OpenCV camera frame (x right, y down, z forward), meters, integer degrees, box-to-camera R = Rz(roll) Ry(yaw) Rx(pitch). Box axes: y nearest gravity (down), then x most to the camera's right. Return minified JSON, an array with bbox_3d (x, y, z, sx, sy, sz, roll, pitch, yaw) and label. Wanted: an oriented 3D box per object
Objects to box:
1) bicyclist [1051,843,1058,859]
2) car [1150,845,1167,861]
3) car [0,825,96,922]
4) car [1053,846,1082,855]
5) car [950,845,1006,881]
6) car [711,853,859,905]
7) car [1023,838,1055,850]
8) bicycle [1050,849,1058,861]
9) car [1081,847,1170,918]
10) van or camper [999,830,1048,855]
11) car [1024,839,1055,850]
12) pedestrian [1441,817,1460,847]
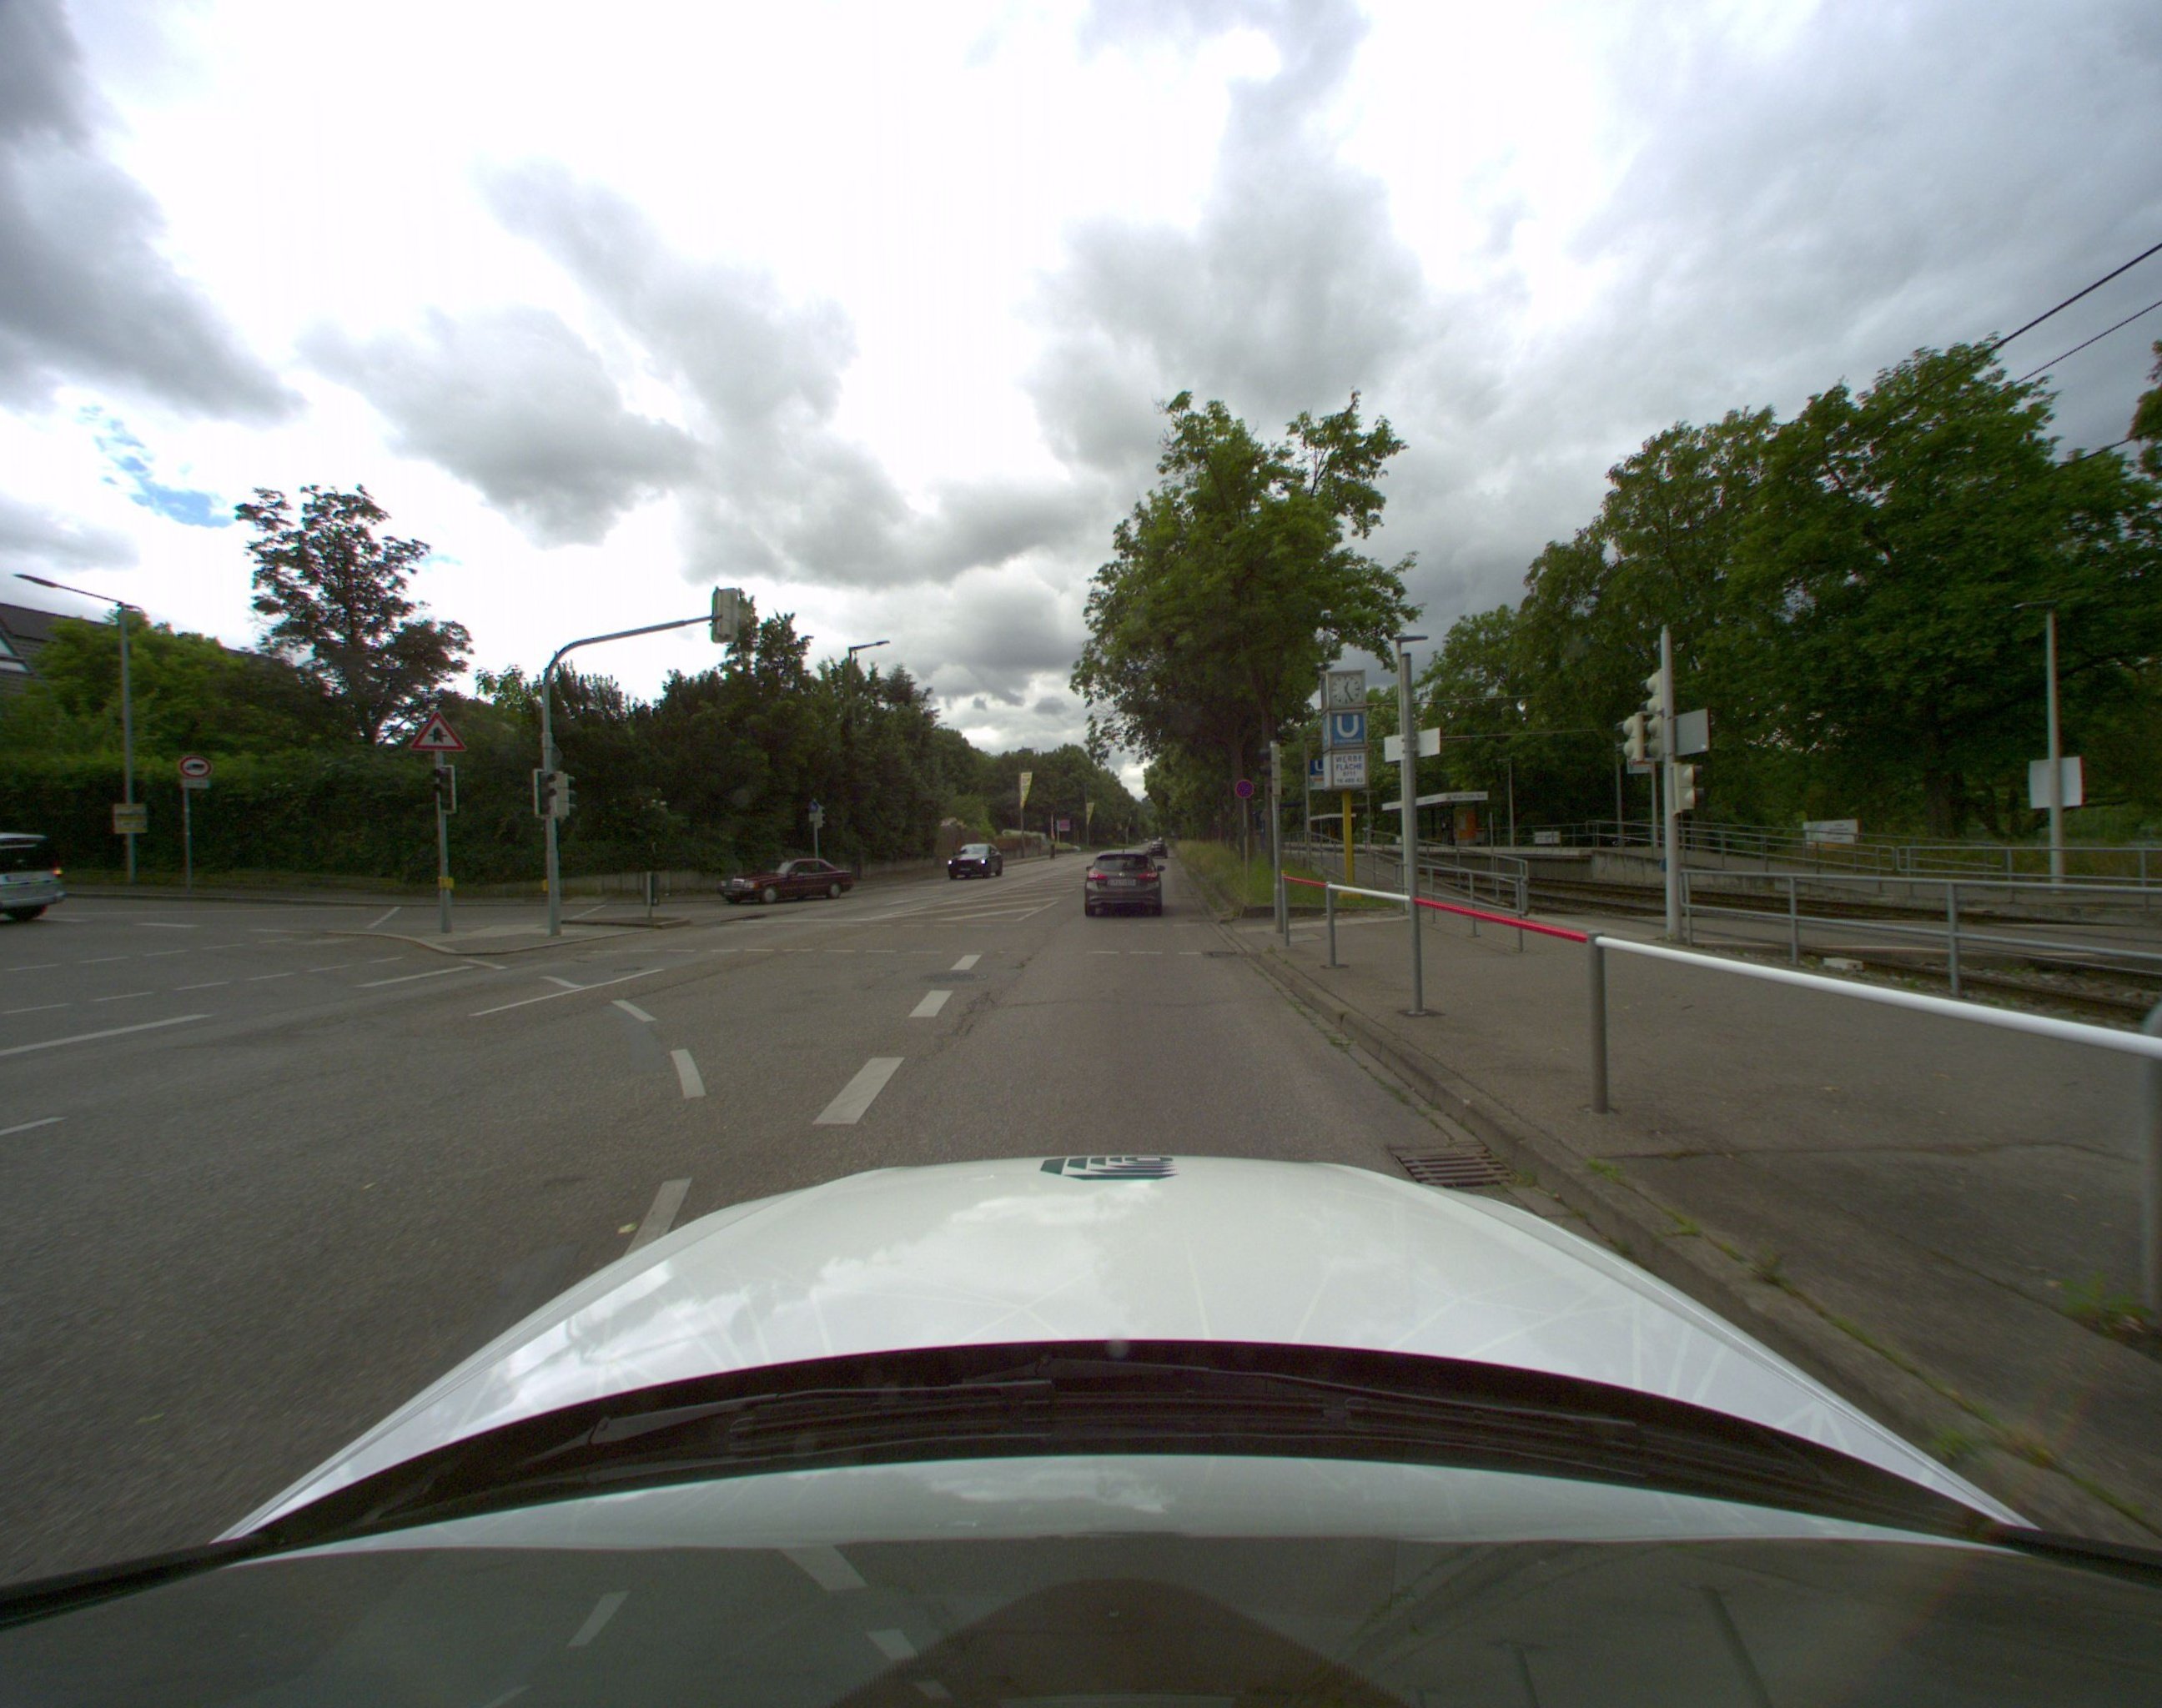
[{"bbox_3d":[-2.633,-0.264,79.855,0.639,1.535,0.979,0,0,1],"label":"bicyclist"},{"bbox_3d":[7.438,-0.121,78.040,1.495,1.528,3.679,-1,0,8],"label":"car"},{"bbox_3d":[-23.223,0.419,16.106,4.528,1.874,1.942,-1,0,-11],"label":"car"},{"bbox_3d":[-2.074,-0.564,127.463,4.356,1.441,1.963,0,1,3],"label":"car"},{"bbox_3d":[-5.238,0.420,42.013,1.893,1.678,5.086,-2,0,4],"label":"car"},{"bbox_3d":[-9.084,0.699,25.365,1.726,1.464,4.368,0,0,26],"label":"car"},{"bbox_3d":[-5.520,-1.280,107.475,3.962,1.497,1.865,0,0,10],"label":"car"},{"bbox_3d":[-2.668,0.109,79.913,0.639,1.145,2.148,0,1,2],"label":"bicycle"},{"bbox_3d":[1.184,0.614,19.888,1.827,1.528,3.937,-1,0,8],"label":"car"},{"bbox_3d":[-8.954,-1.784,127.904,7.106,3.370,2.801,4,1,5],"label":"van or camper"},{"bbox_3d":[-5.548,-1.230,109.359,3.962,1.411,1.538,0,0,10],"label":"car"},{"bbox_3d":[19.275,-1.151,42.484,0.714,1.511,0.725,0,0,8],"label":"pedestrian"}]
